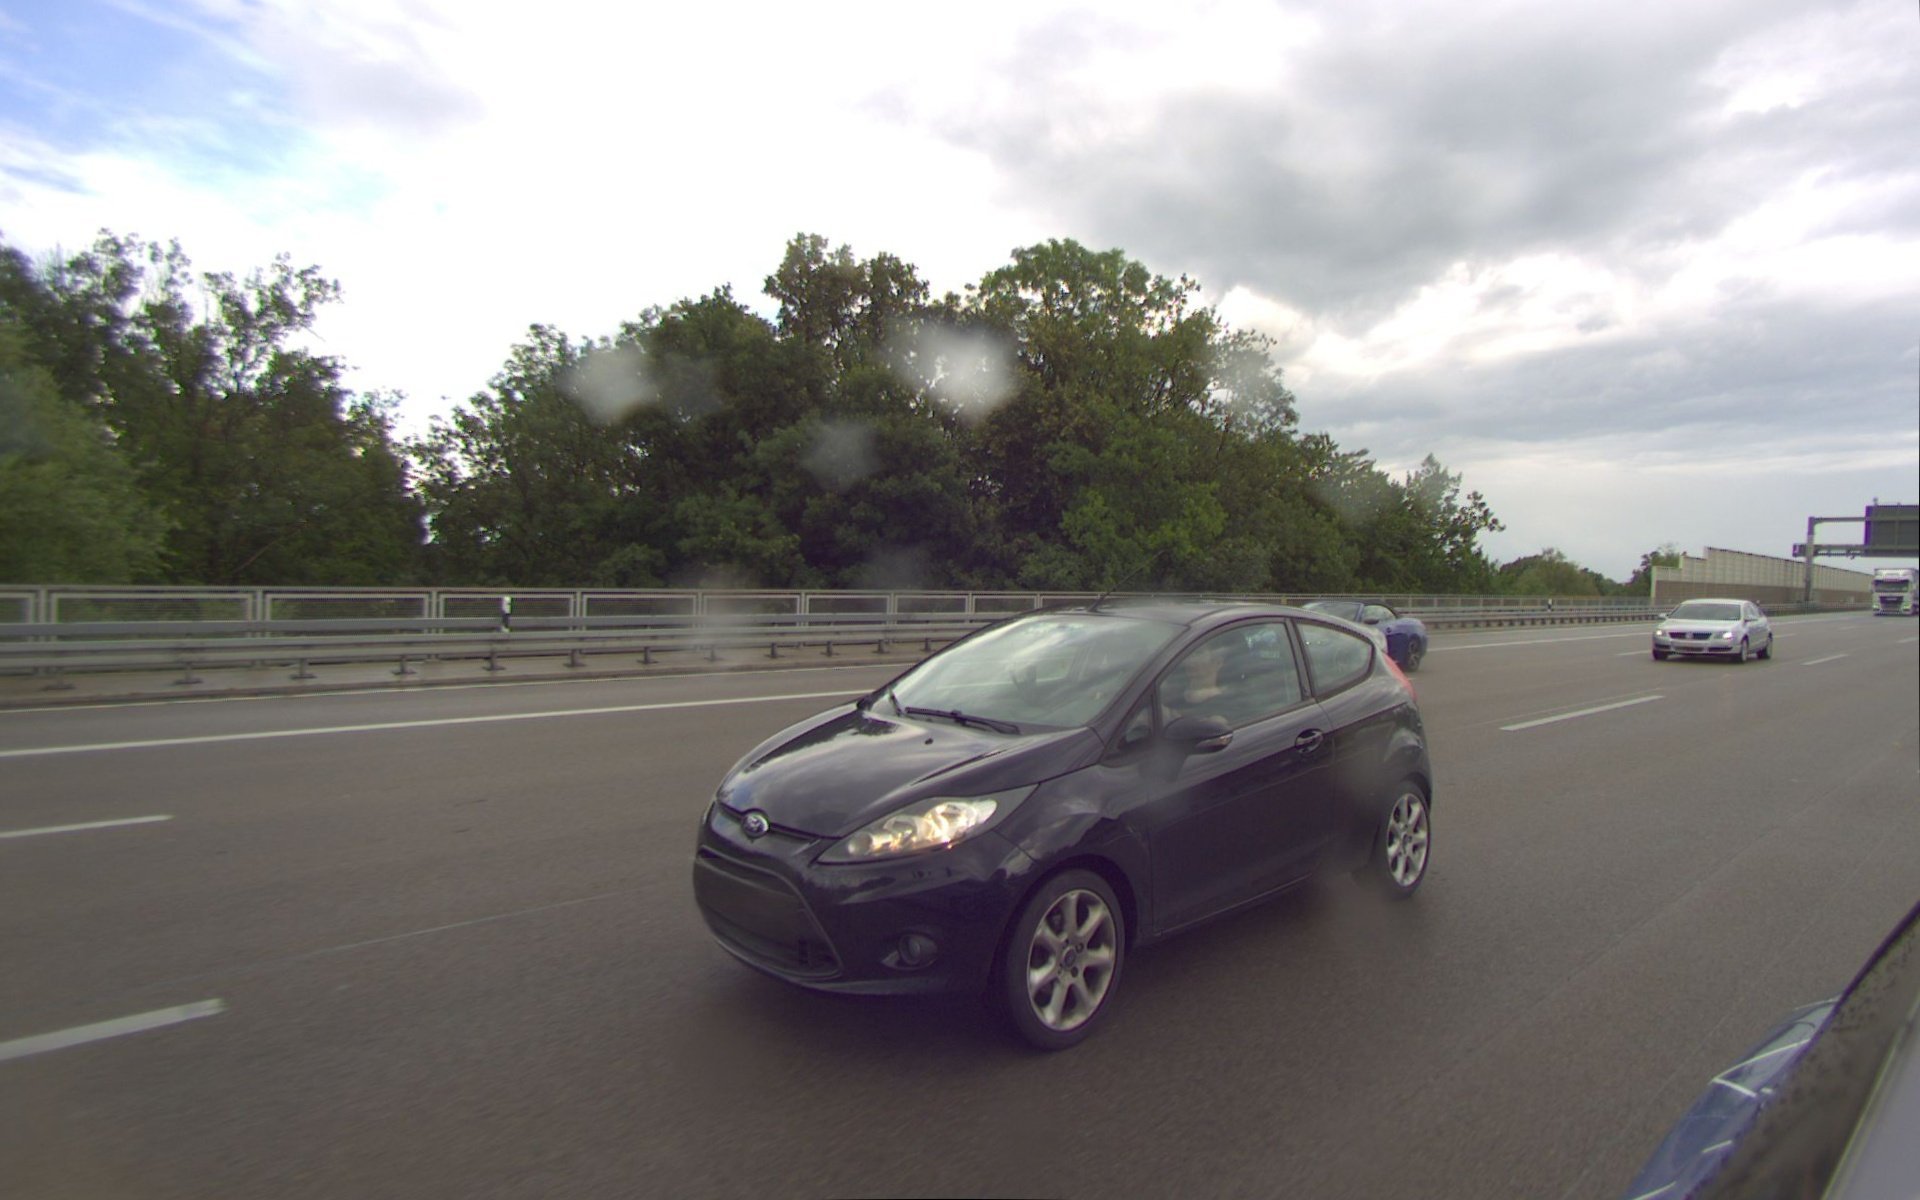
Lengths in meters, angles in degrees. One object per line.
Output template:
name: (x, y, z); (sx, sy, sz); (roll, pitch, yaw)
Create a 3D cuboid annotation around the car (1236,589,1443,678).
car: (7.282, 0.551, 19.183); (4.509, 1.465, 1.780); (0, 1, -42)

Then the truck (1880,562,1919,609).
truck: (83.527, -1.263, 88.858); (12.110, 3.956, 3.249); (-1, 1, -44)

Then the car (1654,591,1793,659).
car: (18.501, 0.544, 24.468); (4.172, 1.465, 1.896); (0, 1, -42)

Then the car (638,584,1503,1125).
car: (0.883, 0.674, 4.832); (4.330, 1.458, 1.666); (0, 1, -42)
